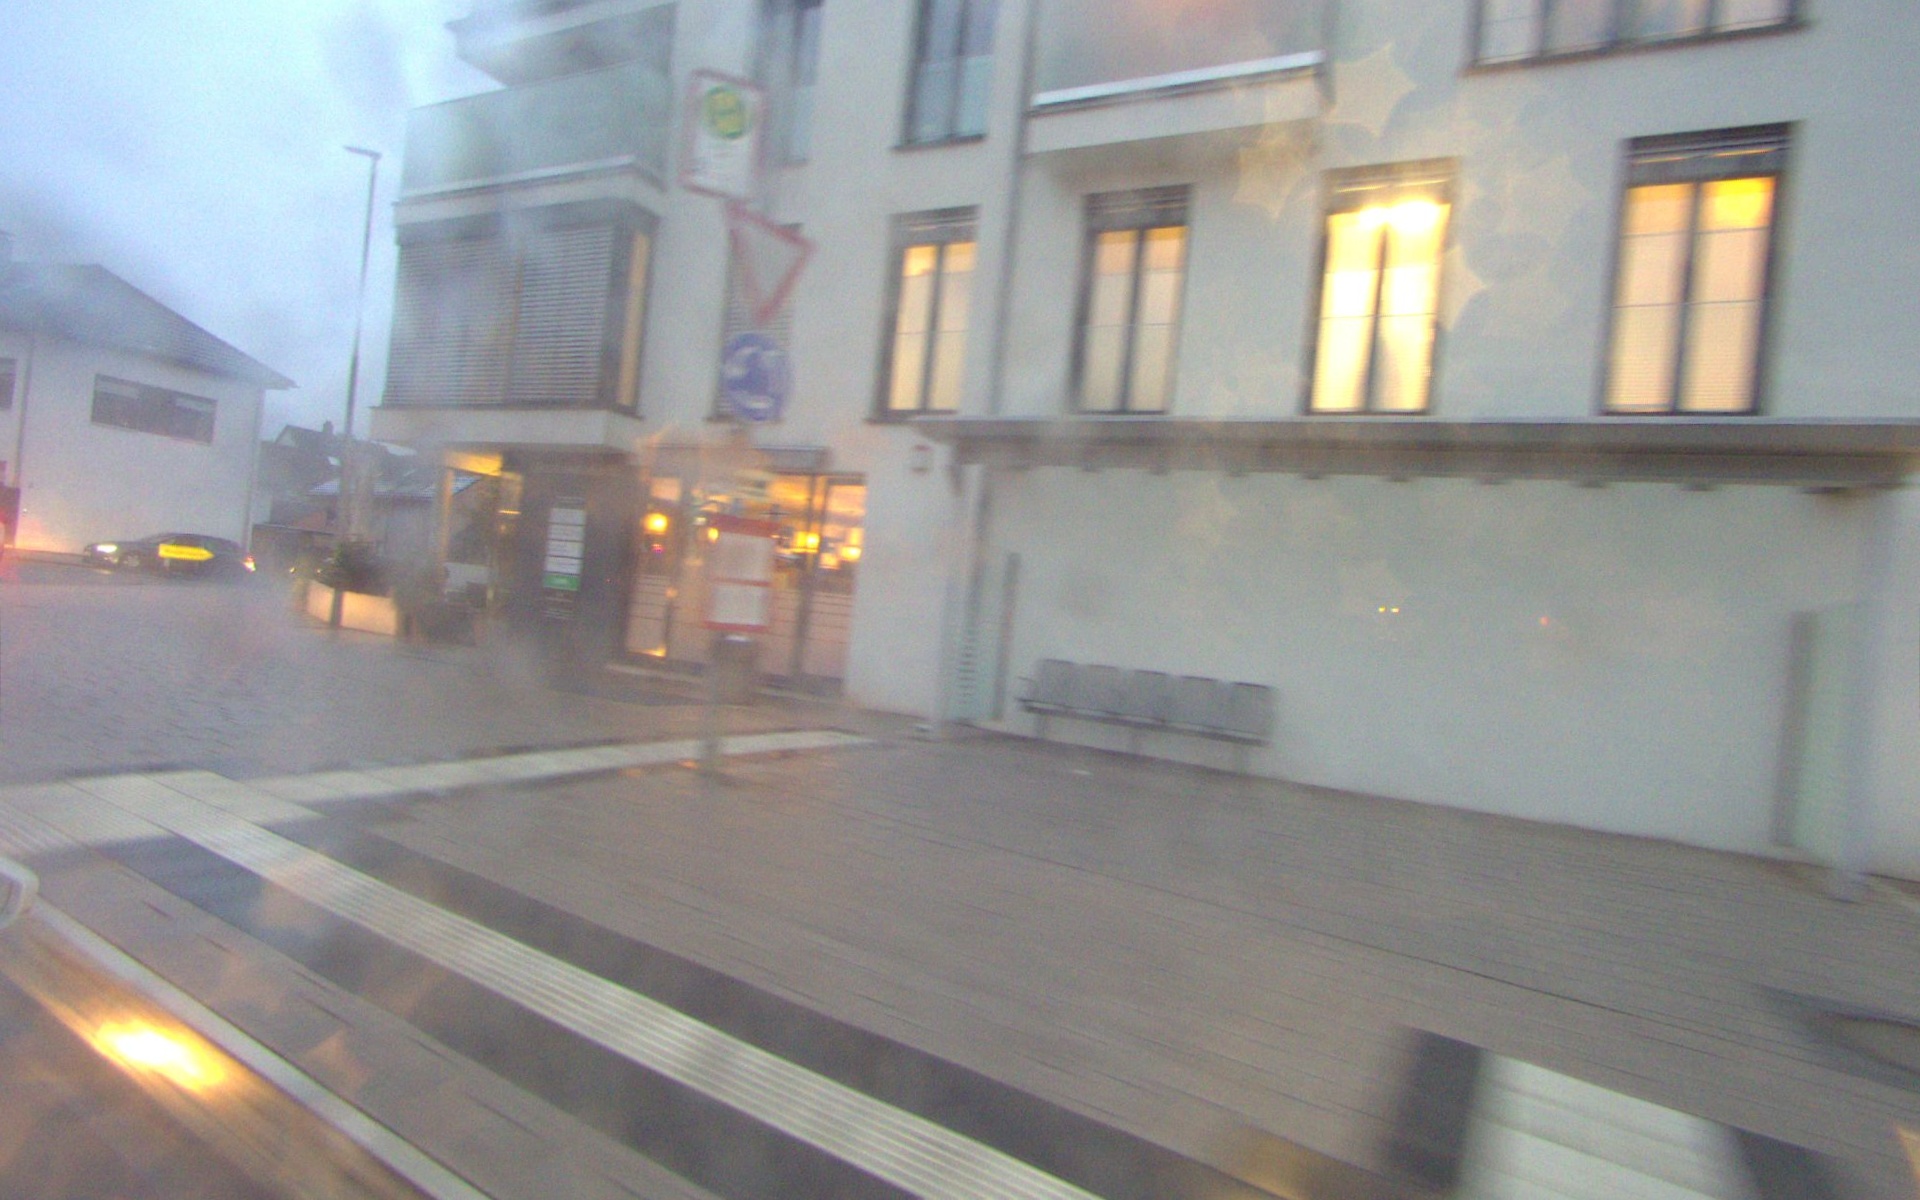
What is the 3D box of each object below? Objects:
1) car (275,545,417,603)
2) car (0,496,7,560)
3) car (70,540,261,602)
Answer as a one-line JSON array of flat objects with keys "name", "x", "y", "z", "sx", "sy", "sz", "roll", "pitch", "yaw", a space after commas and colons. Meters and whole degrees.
[{"name": "car", "x": -22.112, "y": -0.903, "z": 36.376, "sx": 1.669, "sy": 1.569, "sz": 3.996, "roll": 4, "pitch": -3, "yaw": 30}, {"name": "car", "x": -21.350, "y": -1.551, "z": 21.143, "sx": 1.773, "sy": 1.557, "sz": 3.883, "roll": 8, "pitch": -1, "yaw": -44}, {"name": "car", "x": -24.641, "y": -0.854, "z": 31.376, "sx": 1.819, "sy": 1.399, "sz": 4.232, "roll": 3, "pitch": -3, "yaw": 28}]
